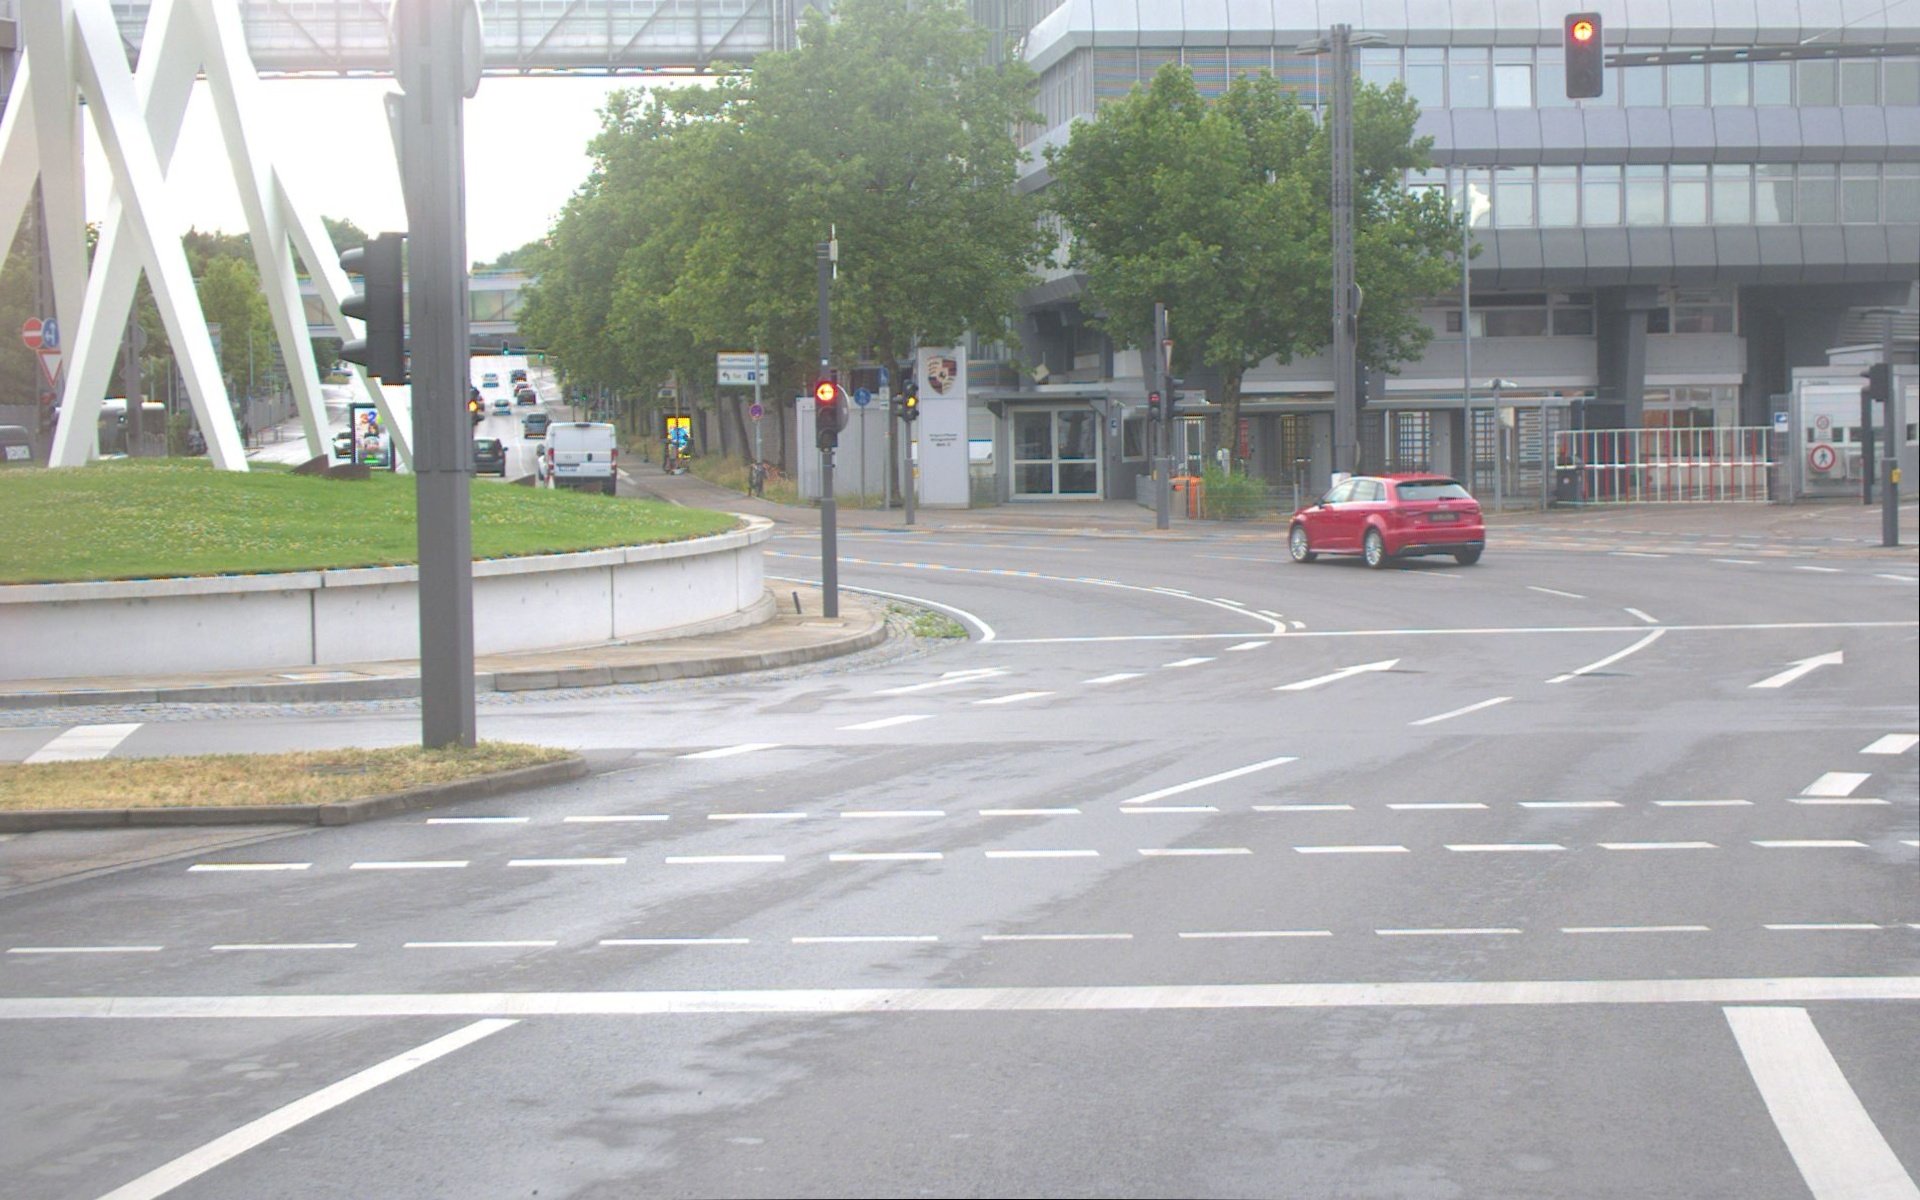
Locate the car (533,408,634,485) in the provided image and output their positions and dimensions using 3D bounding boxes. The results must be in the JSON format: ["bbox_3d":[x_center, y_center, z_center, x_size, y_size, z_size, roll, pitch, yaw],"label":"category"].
[{"bbox_3d":[-11.342,-4.591,103.218,2.232,2.100,4.956,-1,0,-15],"label":"car"}]

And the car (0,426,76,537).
[{"bbox_3d":[-25.261,-3.062,89.513,1.967,2.811,7.127,0,2,6],"label":"car"}]

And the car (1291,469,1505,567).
[{"bbox_3d":[6.787,-1.262,53.621,1.772,1.459,3.734,-1,1,-20],"label":"car"}]

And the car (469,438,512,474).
[{"bbox_3d":[-18.458,-5.648,135.042,1.556,1.284,3.414,-1,1,-9],"label":"car"}]

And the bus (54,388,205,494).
[{"bbox_3d":[-26.516,-5.007,110.356,2.668,3.190,12.672,0,2,-4],"label":"bus"}]
